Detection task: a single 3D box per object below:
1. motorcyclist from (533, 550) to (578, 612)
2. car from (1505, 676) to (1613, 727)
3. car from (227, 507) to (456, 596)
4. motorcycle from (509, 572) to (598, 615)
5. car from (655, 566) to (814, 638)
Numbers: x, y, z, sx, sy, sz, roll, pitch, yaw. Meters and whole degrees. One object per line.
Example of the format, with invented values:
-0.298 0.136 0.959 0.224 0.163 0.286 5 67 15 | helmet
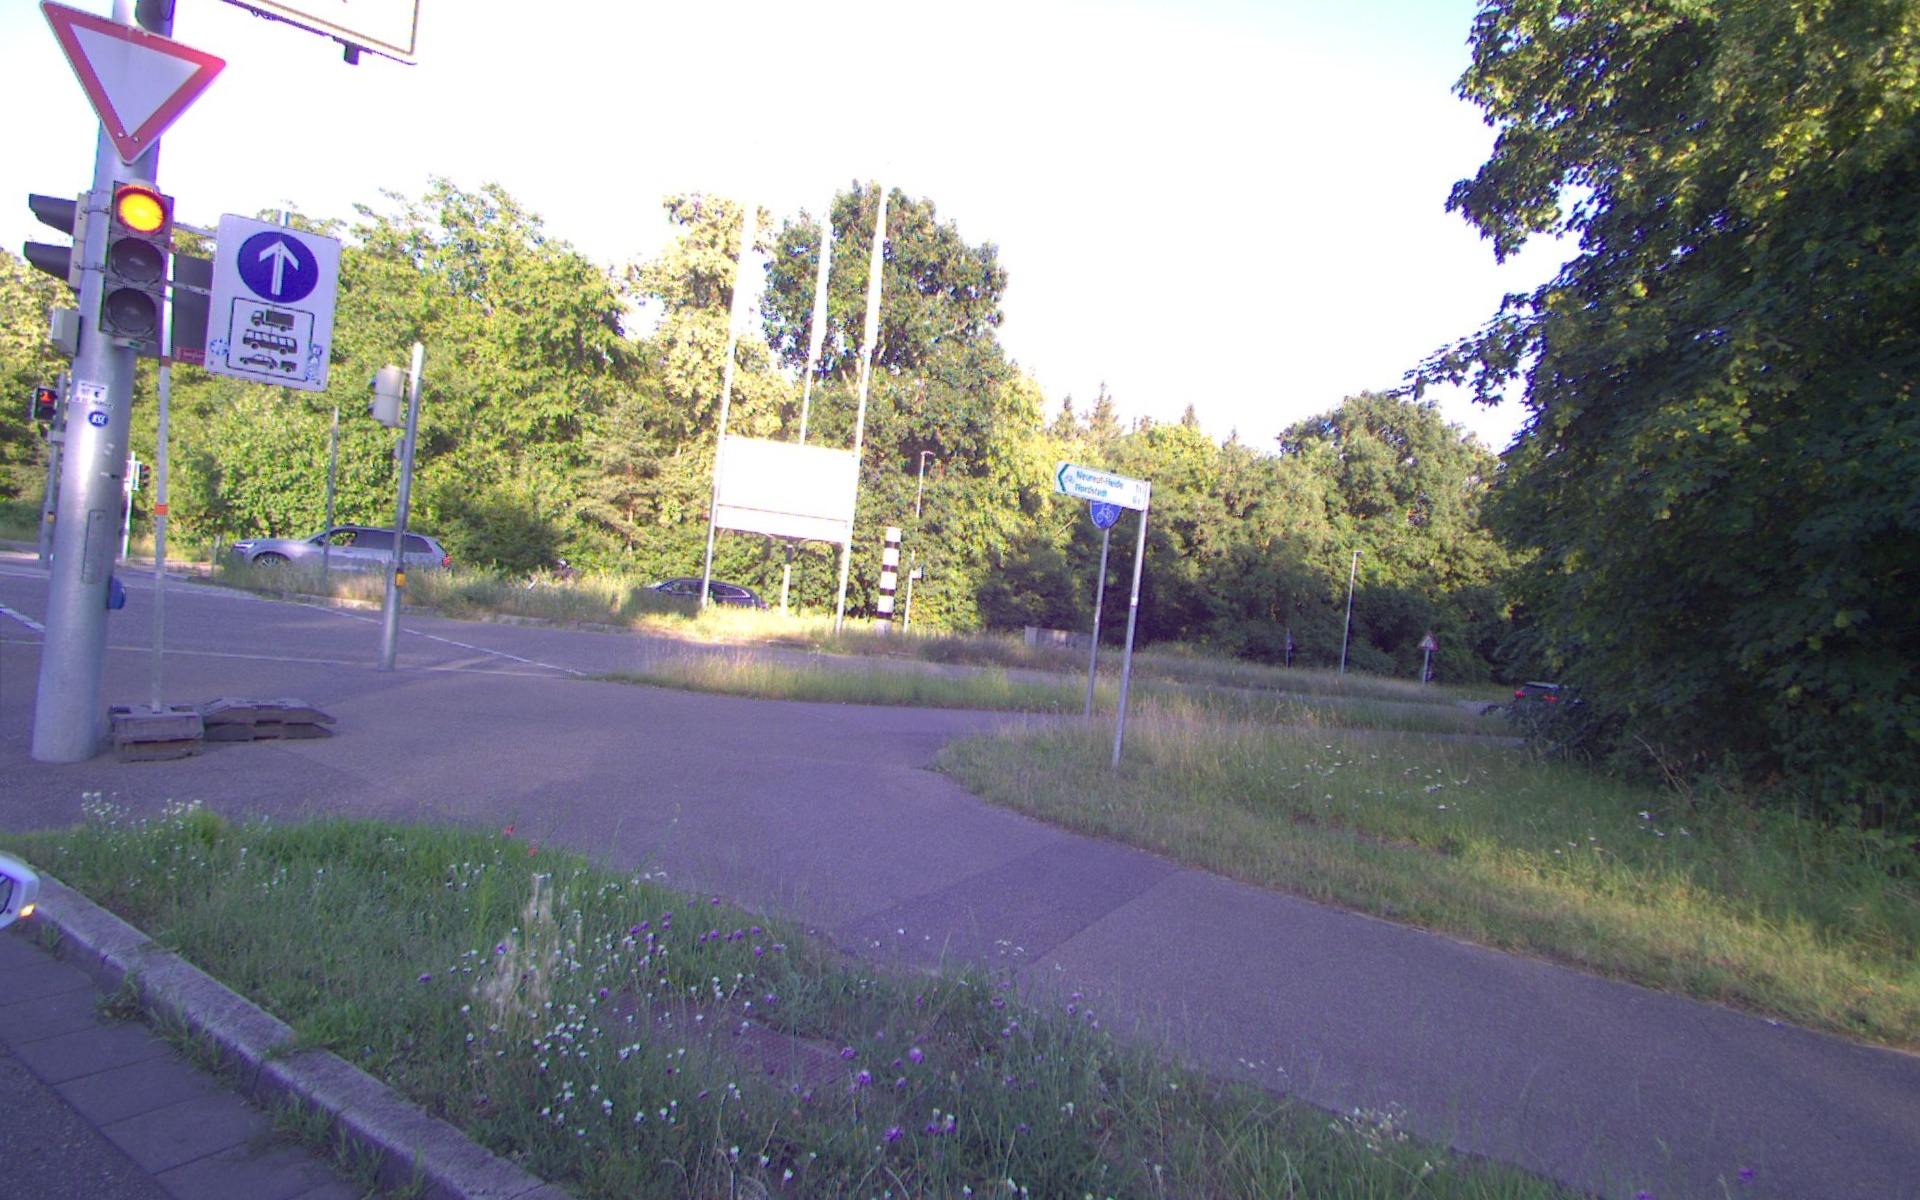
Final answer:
-11.308 -0.520 28.116 0.881 1.614 0.648 6 0 -37 | motorcyclist
23.932 4.060 40.140 4.637 1.548 1.980 7 -1 -36 | car
-15.914 -1.208 25.998 4.790 1.618 1.980 7 0 -37 | car
-11.345 -0.178 28.127 2.133 0.921 0.655 7 0 -37 | motorcycle
-6.251 0.066 28.058 3.840 1.507 1.754 7 -1 -36 | car
